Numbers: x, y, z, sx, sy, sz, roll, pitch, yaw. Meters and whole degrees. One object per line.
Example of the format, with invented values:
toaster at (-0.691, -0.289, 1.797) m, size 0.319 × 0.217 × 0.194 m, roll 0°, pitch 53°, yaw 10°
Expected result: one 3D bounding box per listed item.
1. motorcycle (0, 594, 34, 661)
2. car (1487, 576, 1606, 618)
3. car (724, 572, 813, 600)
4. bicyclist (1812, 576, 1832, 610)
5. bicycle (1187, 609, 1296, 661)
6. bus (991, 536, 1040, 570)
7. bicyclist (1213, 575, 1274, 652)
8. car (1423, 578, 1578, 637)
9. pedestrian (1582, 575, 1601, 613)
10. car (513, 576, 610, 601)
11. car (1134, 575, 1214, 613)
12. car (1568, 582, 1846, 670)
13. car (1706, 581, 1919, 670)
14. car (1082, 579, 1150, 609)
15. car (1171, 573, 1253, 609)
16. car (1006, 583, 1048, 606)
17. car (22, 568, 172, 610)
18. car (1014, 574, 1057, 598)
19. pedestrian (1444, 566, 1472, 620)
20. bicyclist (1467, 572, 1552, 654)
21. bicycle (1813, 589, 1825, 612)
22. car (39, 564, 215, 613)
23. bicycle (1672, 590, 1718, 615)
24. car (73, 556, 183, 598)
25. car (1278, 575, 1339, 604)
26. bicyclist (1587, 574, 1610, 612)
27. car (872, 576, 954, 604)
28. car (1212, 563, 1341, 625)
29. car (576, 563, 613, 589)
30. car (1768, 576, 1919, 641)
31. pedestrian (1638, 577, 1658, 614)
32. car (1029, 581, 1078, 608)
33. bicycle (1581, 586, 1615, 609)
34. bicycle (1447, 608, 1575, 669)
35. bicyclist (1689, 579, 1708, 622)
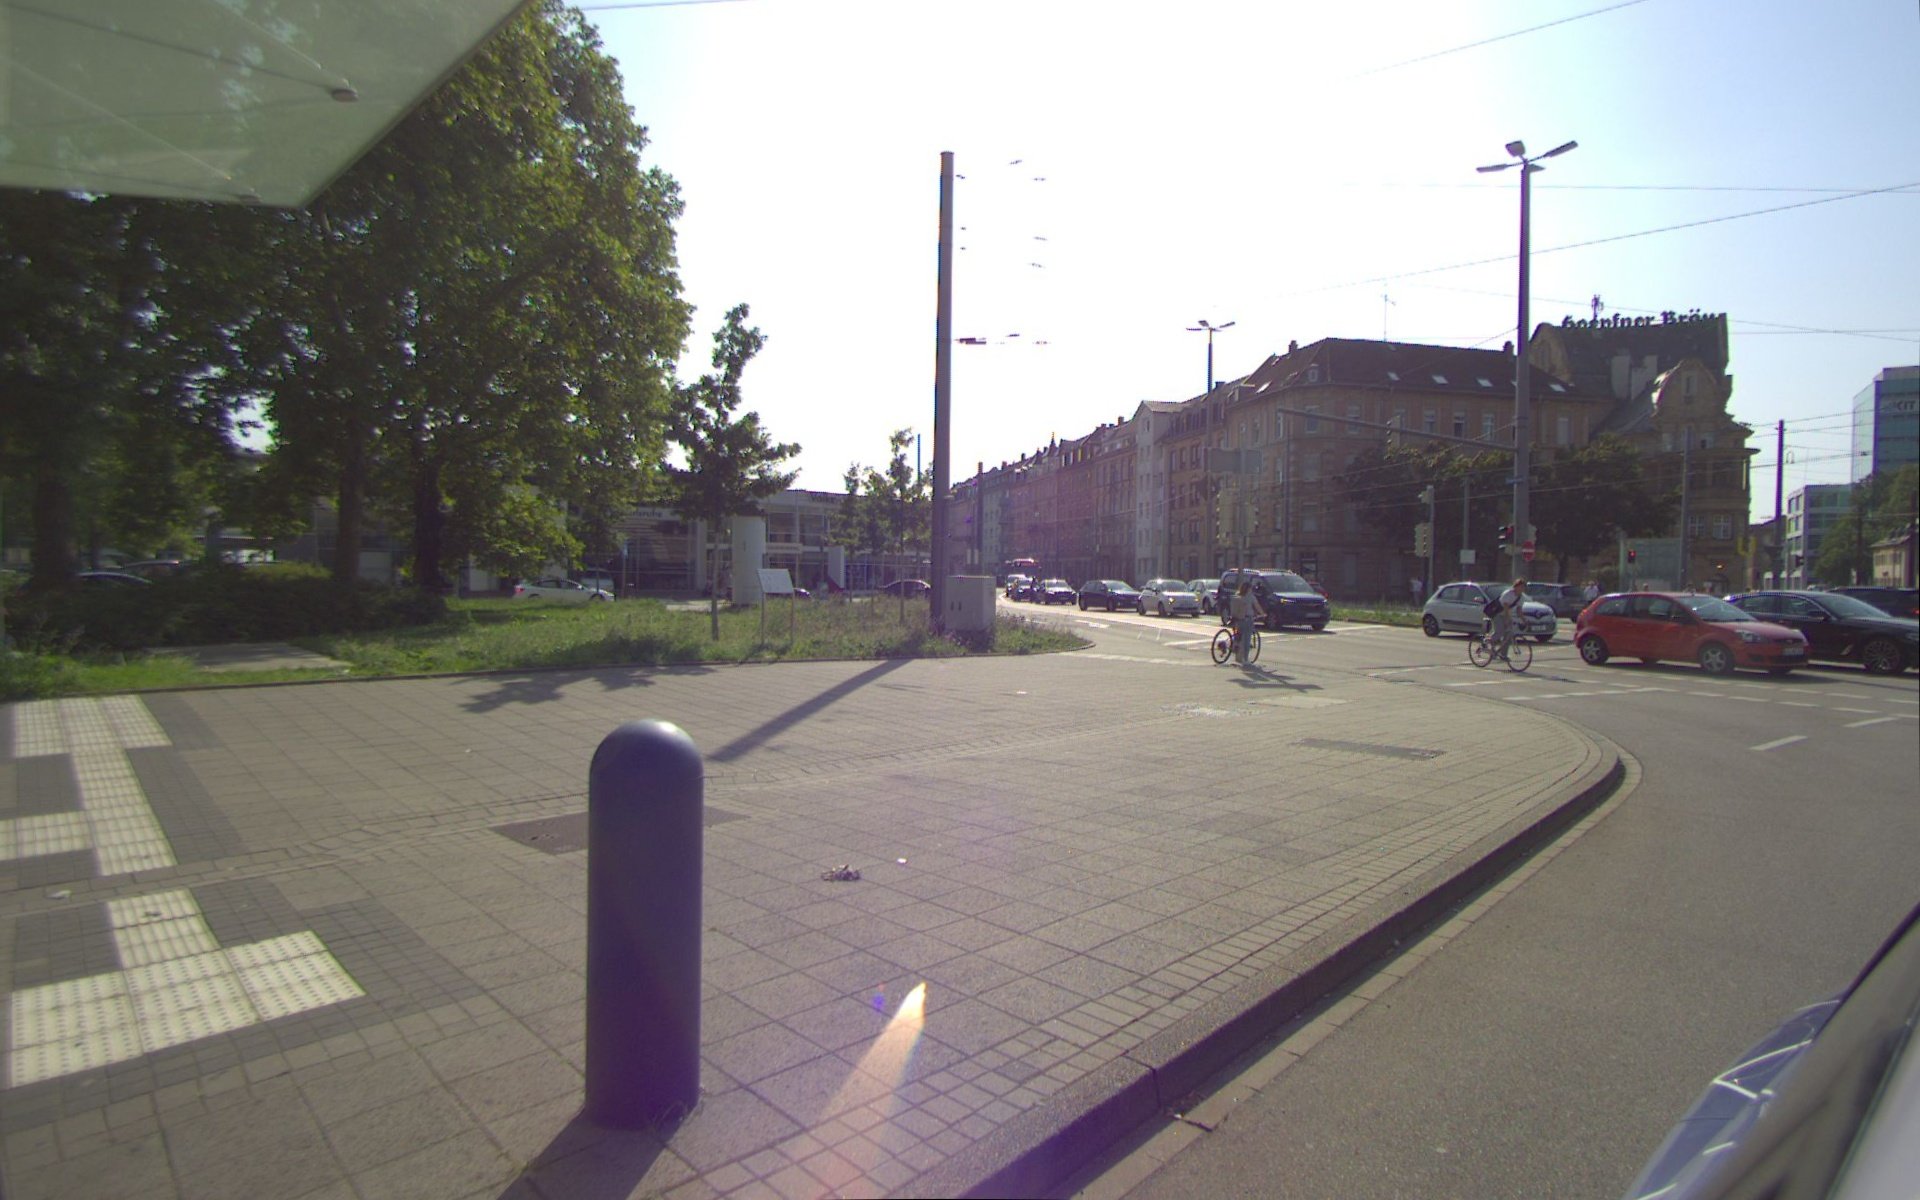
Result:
motorcycle at (-15.715, 0.423, 15.658) m, size 1.917 × 1.014 × 0.706 m, roll 0°, pitch 1°, yaw -28°
car at (24.974, -0.156, 43.282) m, size 1.776 × 1.644 × 4.300 m, roll 2°, pitch 1°, yaw -17°
car at (-10.064, -0.719, 53.130) m, size 4.305 × 1.387 × 2.005 m, roll 0°, pitch 1°, yaw -19°
bicyclist at (41.888, -0.341, 49.177) m, size 0.660 × 1.657 × 0.905 m, roll 2°, pitch 1°, yaw 40°
bicycle at (5.408, 0.669, 19.410) m, size 2.032 × 0.905 × 0.569 m, roll 3°, pitch 0°, yaw -21°
bus at (5.196, -4.435, 97.536) m, size 2.839 × 3.021 × 11.514 m, roll 1°, pitch 2°, yaw -6°
bicyclist at (5.431, 0.248, 19.412) m, size 0.803 × 1.445 × 0.732 m, roll 1°, pitch 0°, yaw -21°
car at (14.535, 0.149, 27.436) m, size 1.765 × 1.453 × 3.564 m, roll 1°, pitch 1°, yaw -13°
pedestrian at (29.788, -0.292, 47.740) m, size 0.496 × 1.748 × 0.624 m, roll 1°, pitch 0°, yaw -1°
car at (-19.469, -0.566, 49.462) m, size 4.307 × 1.180 × 2.004 m, roll 0°, pitch 2°, yaw -25°
car at (8.646, -0.283, 41.170) m, size 1.765 × 1.459 × 3.639 m, roll 1°, pitch 1°, yaw -13°
car at (13.859, 0.406, 19.096) m, size 1.765 × 1.433 × 4.009 m, roll 1°, pitch 2°, yaw -13°
car at (16.910, 0.422, 19.161) m, size 1.765 × 1.470 × 4.360 m, roll 1°, pitch 2°, yaw -13°
car at (7.191, -0.316, 47.082) m, size 1.765 × 1.298 × 3.640 m, roll 0°, pitch 2°, yaw -16°
car at (10.760, -0.404, 43.522) m, size 1.765 × 1.433 × 4.009 m, roll 1°, pitch 2°, yaw -13°
car at (4.516, -0.392, 68.765) m, size 1.765 × 1.433 × 4.009 m, roll 1°, pitch 2°, yaw -13°
car at (-30.558, -0.403, 35.884) m, size 1.995 × 1.393 × 3.935 m, roll 2°, pitch 2°, yaw 45°
car at (4.845, -0.939, 65.640) m, size 1.765 × 1.459 × 3.639 m, roll 1°, pitch 1°, yaw -13°
pedestrian at (16.299, -0.224, 33.148) m, size 0.515 × 1.752 × 0.599 m, roll 1°, pitch 1°, yaw -18°
bicyclist at (10.404, 0.225, 19.185) m, size 1.066 × 1.493 × 0.973 m, roll 0°, pitch 1°, yaw -29°
bicycle at (41.838, 0.006, 49.301) m, size 0.399 × 1.104 × 1.901 m, roll 2°, pitch 2°, yaw 40°
car at (-25.072, -0.368, 30.530) m, size 1.995 × 1.393 × 3.935 m, roll 2°, pitch 2°, yaw 45°
bicycle at (31.020, 0.099, 42.740) m, size 1.516 × 1.037 × 0.429 m, roll 2°, pitch 1°, yaw 34°
car at (-42.427, -1.178, 51.712) m, size 3.915 × 2.039 × 1.951 m, roll 1°, pitch 1°, yaw -18°
car at (19.173, -0.609, 55.854) m, size 1.642 × 1.466 × 3.787 m, roll 1°, pitch 1°, yaw -8°
bicyclist at (29.088, -0.318, 46.084) m, size 0.575 × 1.738 × 0.649 m, roll 1°, pitch 0°, yaw -20°
car at (-2.504, -0.564, 54.574) m, size 4.313 × 1.387 × 2.001 m, roll 1°, pitch 1°, yaw -1°
car at (10.125, -0.246, 32.816) m, size 1.765 × 1.850 × 4.784 m, roll 1°, pitch 2°, yaw -13°
car at (-21.540, -1.410, 59.701) m, size 1.958 × 1.480 × 4.334 m, roll 1°, pitch 1°, yaw -19°
car at (26.348, 0.229, 29.283) m, size 1.731 × 1.728 × 4.299 m, roll 2°, pitch 1°, yaw -22°
pedestrian at (30.759, -0.203, 45.239) m, size 0.495 × 1.661 × 0.525 m, roll 1°, pitch 0°, yaw -16°
car at (5.383, -0.322, 58.464) m, size 1.765 × 1.459 × 3.639 m, roll 1°, pitch 1°, yaw -13°
bicycle at (29.074, -0.100, 46.107) m, size 1.494 × 1.037 × 0.435 m, roll 1°, pitch 0°, yaw -19°
bicycle at (10.410, 0.704, 19.233) m, size 0.518 × 1.001 × 2.201 m, roll -1°, pitch 2°, yaw -28°
bicyclist at (31.117, 0.018, 42.671) m, size 0.583 × 1.752 × 0.588 m, roll 1°, pitch 0°, yaw 34°
